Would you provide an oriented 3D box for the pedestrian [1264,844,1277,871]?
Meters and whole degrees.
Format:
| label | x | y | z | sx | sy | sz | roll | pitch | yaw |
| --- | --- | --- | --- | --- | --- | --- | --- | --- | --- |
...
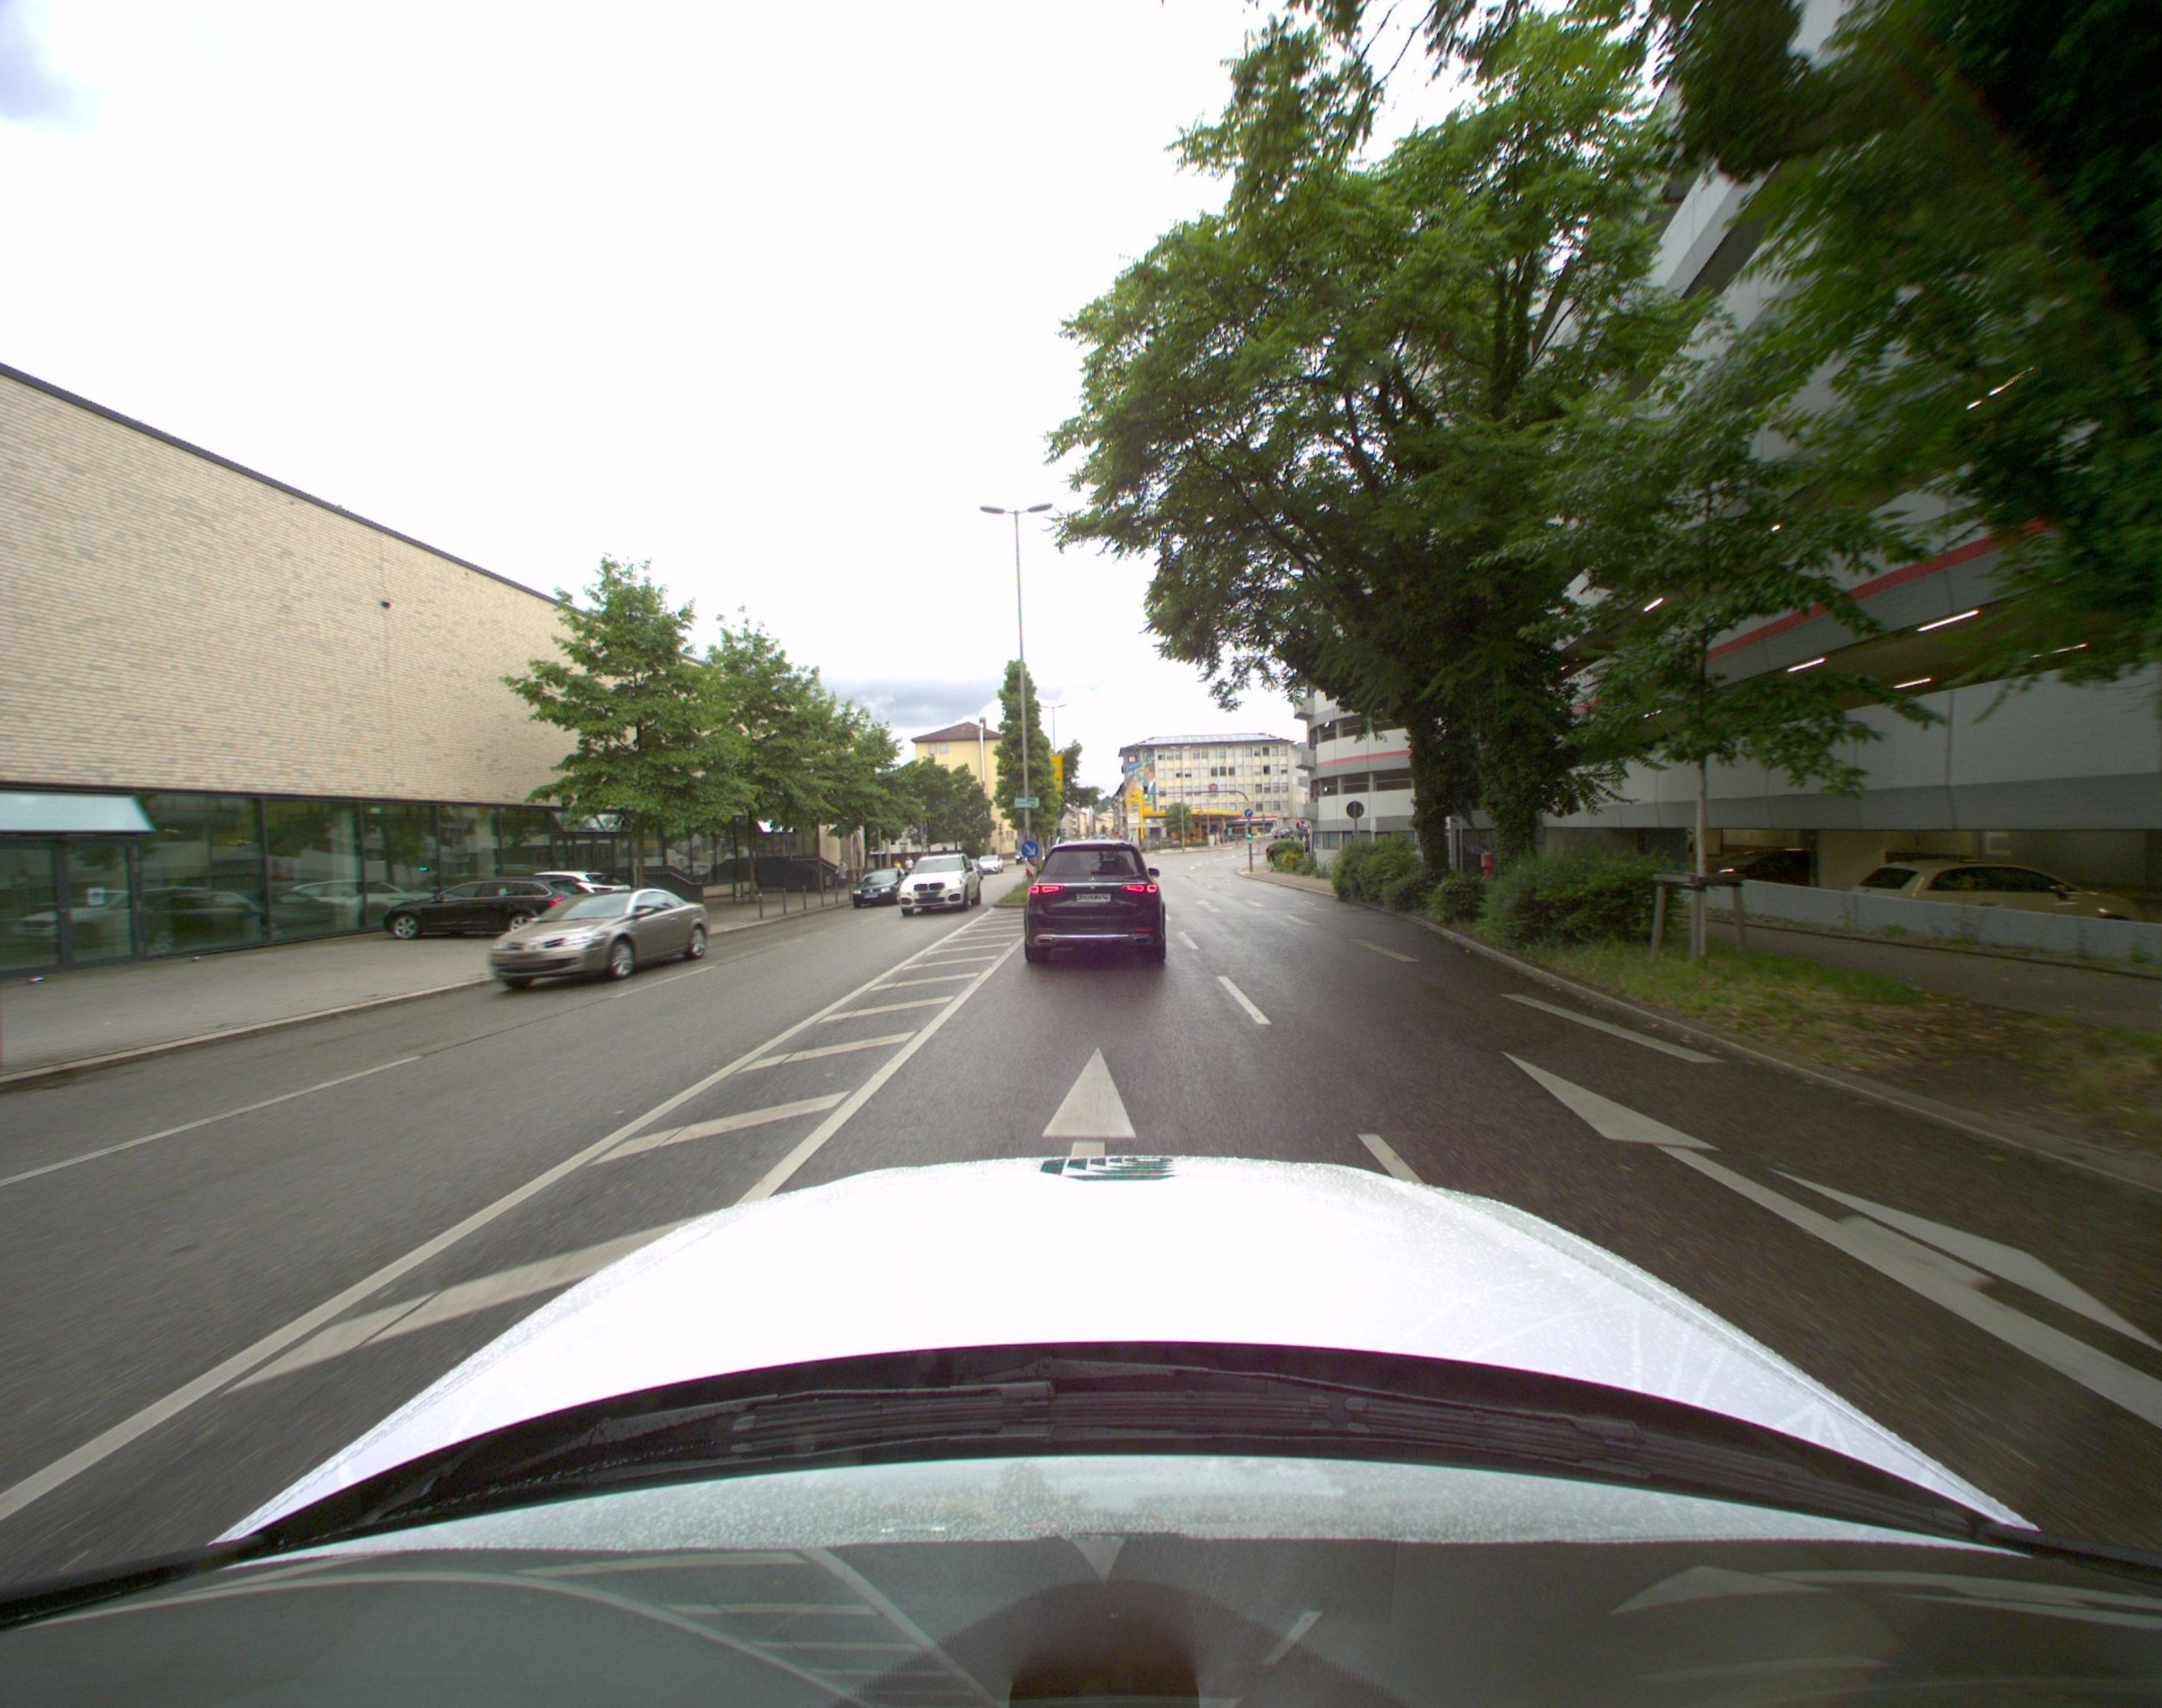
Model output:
| label | x | y | z | sx | sy | sz | roll | pitch | yaw |
| --- | --- | --- | --- | --- | --- | --- | --- | --- | --- |
| pedestrian | 12.252 | 0.245 | 52.712 | 0.639 | 1.710 | 0.474 | -1 | -2 | 38 |

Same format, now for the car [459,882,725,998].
| label | x | y | z | sx | sy | sz | roll | pitch | yaw |
| --- | --- | --- | --- | --- | --- | --- | --- | --- | --- |
| car | -7.887 | 1.292 | 13.702 | 1.823 | 1.388 | 4.229 | -4 | 0 | 0 |

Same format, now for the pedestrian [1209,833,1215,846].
| label | x | y | z | sx | sy | sz | roll | pitch | yaw |
| --- | --- | --- | --- | --- | --- | --- | --- | --- | --- |
| pedestrian | 17.763 | -1.998 | 110.121 | 0.521 | 1.727 | 0.693 | -2 | 0 | 31 |

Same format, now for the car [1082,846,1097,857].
| label | x | y | z | sx | sy | sz | roll | pitch | yaw |
| --- | --- | --- | --- | --- | --- | --- | --- | --- | --- |
| car | 1.230 | -0.330 | 117.189 | 1.987 | 1.614 | 4.190 | 0 | -1 | 1 |

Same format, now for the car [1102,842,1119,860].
| label | x | y | z | sx | sy | sz | roll | pitch | yaw |
| --- | --- | --- | --- | --- | --- | --- | --- | --- | --- |
| car | 3.386 | -0.273 | 93.503 | 1.986 | 2.014 | 4.001 | 0 | -1 | 1 |

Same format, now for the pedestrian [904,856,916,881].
| label | x | y | z | sx | sy | sz | roll | pitch | yaw |
| --- | --- | --- | --- | --- | --- | --- | --- | --- | --- |
| pedestrian | -11.769 | 0.969 | 56.074 | 0.688 | 1.656 | 0.612 | -3 | 0 | -6 |

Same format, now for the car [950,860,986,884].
| label | x | y | z | sx | sy | sz | roll | pitch | yaw |
| --- | --- | --- | --- | --- | --- | --- | --- | --- | --- |
| car | -7.443 | 1.159 | 53.968 | 1.727 | 1.393 | 4.198 | -4 | 0 | -1 |

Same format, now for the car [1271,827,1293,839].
| label | x | y | z | sx | sy | sz | roll | pitch | yaw |
| --- | --- | --- | --- | --- | --- | --- | --- | --- | --- |
| car | 31.015 | -3.194 | 125.520 | 1.974 | 1.706 | 4.026 | -2 | 1 | 35 |

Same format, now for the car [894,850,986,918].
| label | x | y | z | sx | sy | sz | roll | pitch | yaw |
| --- | --- | --- | --- | --- | --- | --- | --- | --- | --- |
| car | -4.304 | 0.867 | 25.625 | 1.884 | 1.811 | 4.576 | -4 | 0 | 1 |

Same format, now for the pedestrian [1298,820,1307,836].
| label | x | y | z | sx | sy | sz | roll | pitch | yaw |
| --- | --- | --- | --- | --- | --- | --- | --- | --- | --- |
| pedestrian | 29.244 | -3.426 | 107.555 | 0.853 | 2.128 | 0.947 | -3 | 0 | -4 |

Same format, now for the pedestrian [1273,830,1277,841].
| label | x | y | z | sx | sy | sz | roll | pitch | yaw |
| --- | --- | --- | --- | --- | --- | --- | --- | --- | --- |
| pedestrian | 30.512 | -2.949 | 128.349 | 0.478 | 1.641 | 0.441 | -1 | -1 | 30 |

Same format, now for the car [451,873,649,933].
| label | x | y | z | sx | sy | sz | roll | pitch | yaw |
| --- | --- | --- | --- | --- | --- | --- | --- | --- | --- |
| car | -14.529 | 1.317 | 22.467 | 4.158 | 1.547 | 2.002 | 0 | -1 | 3 |

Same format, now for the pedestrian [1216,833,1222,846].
| label | x | y | z | sx | sy | sz | roll | pitch | yaw |
| --- | --- | --- | --- | --- | --- | --- | --- | --- | --- |
| pedestrian | 18.806 | -1.999 | 111.230 | 0.521 | 1.727 | 0.693 | -2 | 0 | 29 |

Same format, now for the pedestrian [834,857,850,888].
| label | x | y | z | sx | sy | sz | roll | pitch | yaw |
| --- | --- | --- | --- | --- | --- | --- | --- | --- | --- |
| pedestrian | -13.338 | 1.030 | 45.476 | 0.641 | 1.666 | 1.017 | 0 | -1 | -4 |

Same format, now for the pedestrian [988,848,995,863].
| label | x | y | z | sx | sy | sz | roll | pitch | yaw |
| --- | --- | --- | --- | --- | --- | --- | --- | --- | --- |
| pedestrian | -10.949 | 0.203 | 99.772 | 0.647 | 1.727 | 0.628 | -3 | 0 | -2 |

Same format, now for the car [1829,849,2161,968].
| label | x | y | z | sx | sy | sz | roll | pitch | yaw |
| --- | --- | --- | --- | --- | --- | --- | --- | --- | --- |
| car | 15.035 | 0.855 | 13.478 | 3.431 | 1.783 | 1.823 | -2 | 0 | 14 |

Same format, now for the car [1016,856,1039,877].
| label | x | y | z | sx | sy | sz | roll | pitch | yaw |
| --- | --- | --- | --- | --- | --- | --- | --- | --- | --- |
| car | -4.750 | 1.081 | 72.834 | 1.727 | 1.625 | 4.230 | -4 | 0 | -1 |

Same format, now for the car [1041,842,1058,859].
| label | x | y | z | sx | sy | sz | roll | pitch | yaw |
| --- | --- | --- | --- | --- | --- | --- | --- | --- | --- |
| car | -3.688 | -0.426 | 96.857 | 1.787 | 1.854 | 4.791 | -4 | 0 | 0 |

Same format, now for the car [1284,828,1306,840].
| label | x | y | z | sx | sy | sz | roll | pitch | yaw |
| --- | --- | --- | --- | --- | --- | --- | --- | --- | --- |
| car | 34.068 | -3.156 | 129.715 | 1.974 | 1.706 | 4.026 | -2 | 1 | 35 |

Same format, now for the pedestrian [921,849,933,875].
| label | x | y | z | sx | sy | sz | roll | pitch | yaw |
| --- | --- | --- | --- | --- | --- | --- | --- | --- | --- |
| pedestrian | -10.505 | 0.542 | 55.570 | 0.687 | 1.757 | 0.716 | -2 | 0 | -9 |

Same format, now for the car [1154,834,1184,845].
| label | x | y | z | sx | sy | sz | roll | pitch | yaw |
| --- | --- | --- | --- | --- | --- | --- | --- | --- | --- |
| car | 12.499 | -1.997 | 115.934 | 1.747 | 1.376 | 3.952 | -3 | 1 | -42 |

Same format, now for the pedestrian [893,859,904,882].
| label | x | y | z | sx | sy | sz | roll | pitch | yaw |
| --- | --- | --- | --- | --- | --- | --- | --- | --- | --- |
| pedestrian | -12.730 | 1.153 | 56.898 | 0.434 | 1.534 | 0.549 | -2 | 0 | 28 |

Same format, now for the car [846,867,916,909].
| label | x | y | z | sx | sy | sz | roll | pitch | yaw |
| --- | --- | --- | --- | --- | --- | --- | --- | --- | --- |
| car | -7.886 | 1.299 | 32.480 | 1.740 | 1.412 | 3.970 | -4 | 0 | 0 |

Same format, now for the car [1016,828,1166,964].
| label | x | y | z | sx | sy | sz | roll | pitch | yaw |
| --- | --- | --- | --- | --- | --- | --- | --- | --- | --- |
| car | 0.199 | 0.586 | 12.839 | 1.986 | 1.800 | 4.001 | 0 | -1 | 2 |

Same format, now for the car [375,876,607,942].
| label | x | y | z | sx | sy | sz | roll | pitch | yaw |
| --- | --- | --- | --- | --- | --- | --- | --- | --- | --- |
| car | -14.434 | 1.307 | 20.160 | 4.169 | 1.495 | 1.997 | 0 | -1 | -5 |

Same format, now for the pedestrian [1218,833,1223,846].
| label | x | y | z | sx | sy | sz | roll | pitch | yaw |
| --- | --- | --- | --- | --- | --- | --- | --- | --- | --- |
| pedestrian | 18.371 | -1.937 | 107.499 | 0.570 | 1.697 | 0.631 | 0 | -1 | 3 |

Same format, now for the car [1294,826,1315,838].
| label | x | y | z | sx | sy | sz | roll | pitch | yaw |
| --- | --- | --- | --- | --- | --- | --- | --- | --- | --- |
| car | 36.776 | -3.610 | 133.864 | 1.974 | 1.706 | 4.026 | -2 | 1 | 35 |

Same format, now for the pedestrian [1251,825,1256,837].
| label | x | y | z | sx | sy | sz | roll | pitch | yaw |
| --- | --- | --- | --- | --- | --- | --- | --- | --- | --- |
| pedestrian | 26.187 | -3.504 | 123.758 | 0.521 | 1.727 | 0.693 | -2 | 0 | 29 |

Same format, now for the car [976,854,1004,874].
| label | x | y | z | sx | sy | sz | roll | pitch | yaw |
| --- | --- | --- | --- | --- | --- | --- | --- | --- | --- |
| car | -7.292 | 0.769 | 65.598 | 1.727 | 1.469 | 4.230 | -4 | 0 | -1 |

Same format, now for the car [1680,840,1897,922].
| label | x | y | z | sx | sy | sz | roll | pitch | yaw |
| --- | --- | --- | --- | --- | --- | --- | --- | --- | --- |
| car | 16.695 | 0.626 | 19.404 | 3.431 | 1.783 | 1.823 | -2 | 0 | 14 |

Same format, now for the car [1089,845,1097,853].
| label | x | y | z | sx | sy | sz | roll | pitch | yaw |
| --- | --- | --- | --- | --- | --- | --- | --- | --- | --- |
| car | 3.076 | -1.187 | 207.022 | 1.985 | 2.014 | 4.002 | 0 | -1 | 3 |

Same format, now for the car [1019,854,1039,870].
| label | x | y | z | sx | sy | sz | roll | pitch | yaw |
| --- | --- | --- | --- | --- | --- | --- | --- | --- | --- |
| car | -5.751 | 0.893 | 90.439 | 1.882 | 1.586 | 4.536 | -4 | 0 | 0 |
